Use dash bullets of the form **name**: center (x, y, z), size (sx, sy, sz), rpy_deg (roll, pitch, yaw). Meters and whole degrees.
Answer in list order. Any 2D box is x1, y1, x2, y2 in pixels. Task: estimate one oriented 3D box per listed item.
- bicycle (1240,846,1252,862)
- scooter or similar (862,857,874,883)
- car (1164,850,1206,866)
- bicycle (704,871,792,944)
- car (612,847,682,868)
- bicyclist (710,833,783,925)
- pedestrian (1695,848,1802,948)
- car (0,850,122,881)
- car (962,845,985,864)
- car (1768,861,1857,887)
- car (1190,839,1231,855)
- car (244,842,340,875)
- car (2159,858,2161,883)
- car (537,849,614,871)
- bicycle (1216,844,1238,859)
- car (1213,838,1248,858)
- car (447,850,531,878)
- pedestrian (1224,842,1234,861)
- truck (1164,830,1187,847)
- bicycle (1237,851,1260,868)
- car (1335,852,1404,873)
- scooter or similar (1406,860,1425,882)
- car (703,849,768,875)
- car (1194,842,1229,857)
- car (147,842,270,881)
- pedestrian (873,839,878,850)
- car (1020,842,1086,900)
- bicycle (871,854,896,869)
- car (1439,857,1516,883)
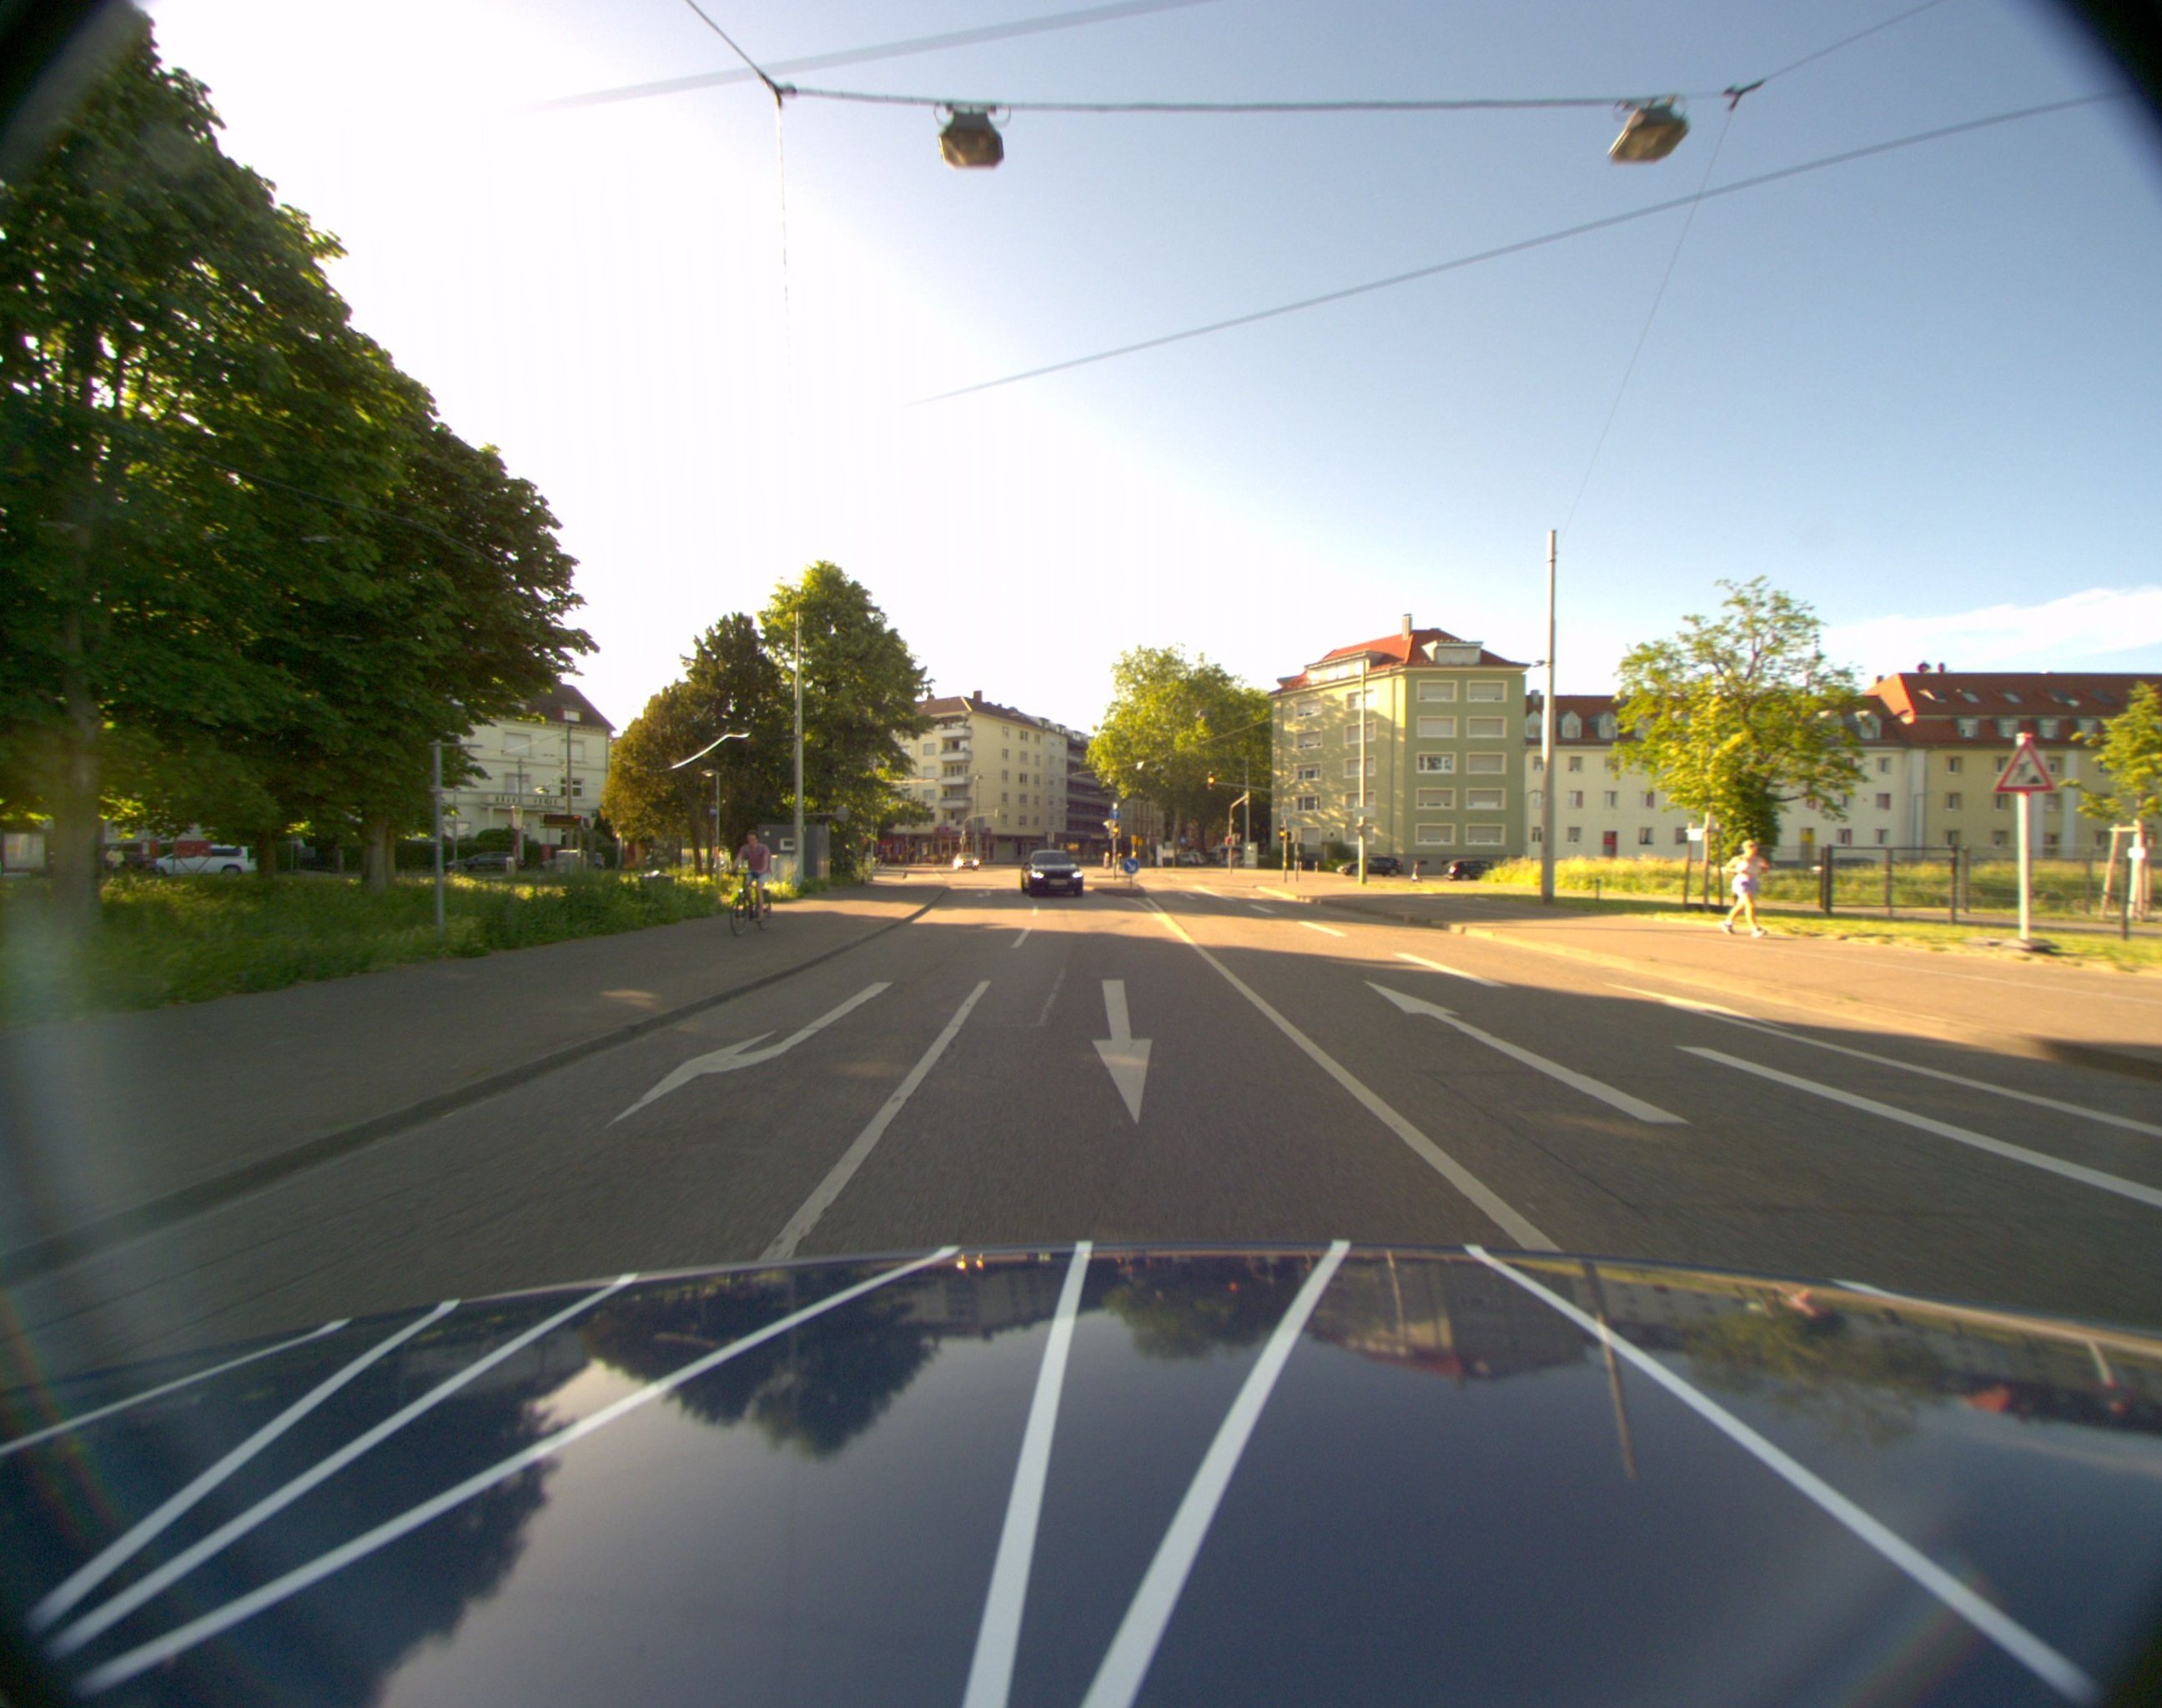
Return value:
- **bicycle**: center (15.912, -0.011, 73.245), size (0.774, 1.372, 2.052), rpy_deg (0, 4, 2)
- **scooter or similar**: center (-10.344, 0.777, 36.893), size (0.385, 1.211, 1.831), rpy_deg (2, -1, -12)
- **car**: center (11.325, 0.466, 82.623), size (4.140, 1.631, 1.777), rpy_deg (-1, 2, 22)
- **bicycle**: center (-6.079, 0.937, 13.991), size (0.720, 1.185, 2.001), rpy_deg (1, 0, 0)
- **car**: center (-32.837, 0.237, 57.547), size (1.994, 1.340, 4.194), rpy_deg (0, 3, 45)
- **bicyclist**: center (-6.077, 0.435, 13.874), size (0.813, 1.590, 1.149), rpy_deg (1, 1, 0)
- **pedestrian**: center (11.513, 0.725, 13.149), size (0.834, 1.620, 1.181), rpy_deg (-2, 1, 4)
- **car**: center (-53.794, 0.591, 39.673), size (4.386, 1.420, 1.686), rpy_deg (-4, 3, -44)
- **car**: center (-8.658, 0.061, 61.064), size (1.703, 1.432, 3.643), rpy_deg (-1, 0, -11)
- **car**: center (45.147, 1.245, 46.940), size (3.900, 1.520, 1.701), rpy_deg (1, -3, -2)
- **car**: center (14.234, -0.795, 83.659), size (4.140, 1.631, 1.777), rpy_deg (-1, 2, 22)
- **car**: center (-51.517, 0.250, 49.734), size (1.994, 1.908, 4.194), rpy_deg (0, 3, 45)
- **car**: center (68.932, 0.995, 46.373), size (3.900, 1.520, 1.701), rpy_deg (1, -3, -2)
- **car**: center (-36.213, 0.423, 54.482), size (1.994, 1.337, 4.194), rpy_deg (0, 3, 45)
- **bicycle**: center (14.554, -0.270, 75.760), size (2.047, 1.454, 0.727), rpy_deg (2, 4, 30)
- **car**: center (20.781, -0.797, 105.464), size (4.411, 2.612, 1.972), rpy_deg (-1, 2, 22)
- **car**: center (-39.941, 0.635, 51.320), size (1.994, 1.707, 4.194), rpy_deg (0, 3, 45)
- **pedestrian**: center (15.077, -0.264, 77.208), size (0.695, 1.953, 0.929), rpy_deg (0, 3, 31)
- **truck**: center (17.646, -2.877, 141.200), size (2.339, 2.956, 8.041), rpy_deg (-1, 2, 20)
- **bicycle**: center (15.361, 0.515, 69.668), size (0.776, 1.372, 2.046), rpy_deg (-2, 5, -35)
- **car**: center (20.608, 0.622, 54.402), size (4.204, 1.484, 1.942), rpy_deg (0, -1, 2)
- **scooter or similar**: center (18.567, 0.936, 42.151), size (0.593, 1.137, 1.270), rpy_deg (1, -3, 42)
- **car**: center (-27.899, 0.592, 61.360), size (1.994, 1.847, 4.257), rpy_deg (0, 3, 45)
- **car**: center (16.455, -0.586, 95.703), size (3.992, 1.827, 1.818), rpy_deg (-1, 2, 22)
- **car**: center (-49.342, 0.360, 43.127), size (4.340, 1.953, 1.904), rpy_deg (-4, 3, -44)
- **pedestrian**: center (-24.157, -1.156, 89.256), size (0.384, 1.269, 0.494), rpy_deg (-2, 0, 4)
- **car**: center (-1.151, 0.558, 29.205), size (1.942, 1.923, 4.519), rpy_deg (-2, 2, -9)
- **bicycle**: center (-14.310, 0.544, 55.167), size (0.626, 1.120, 1.810), rpy_deg (-1, 0, 34)
- **car**: center (24.482, 1.015, 47.000), size (3.900, 1.520, 1.701), rpy_deg (1, -3, -2)
